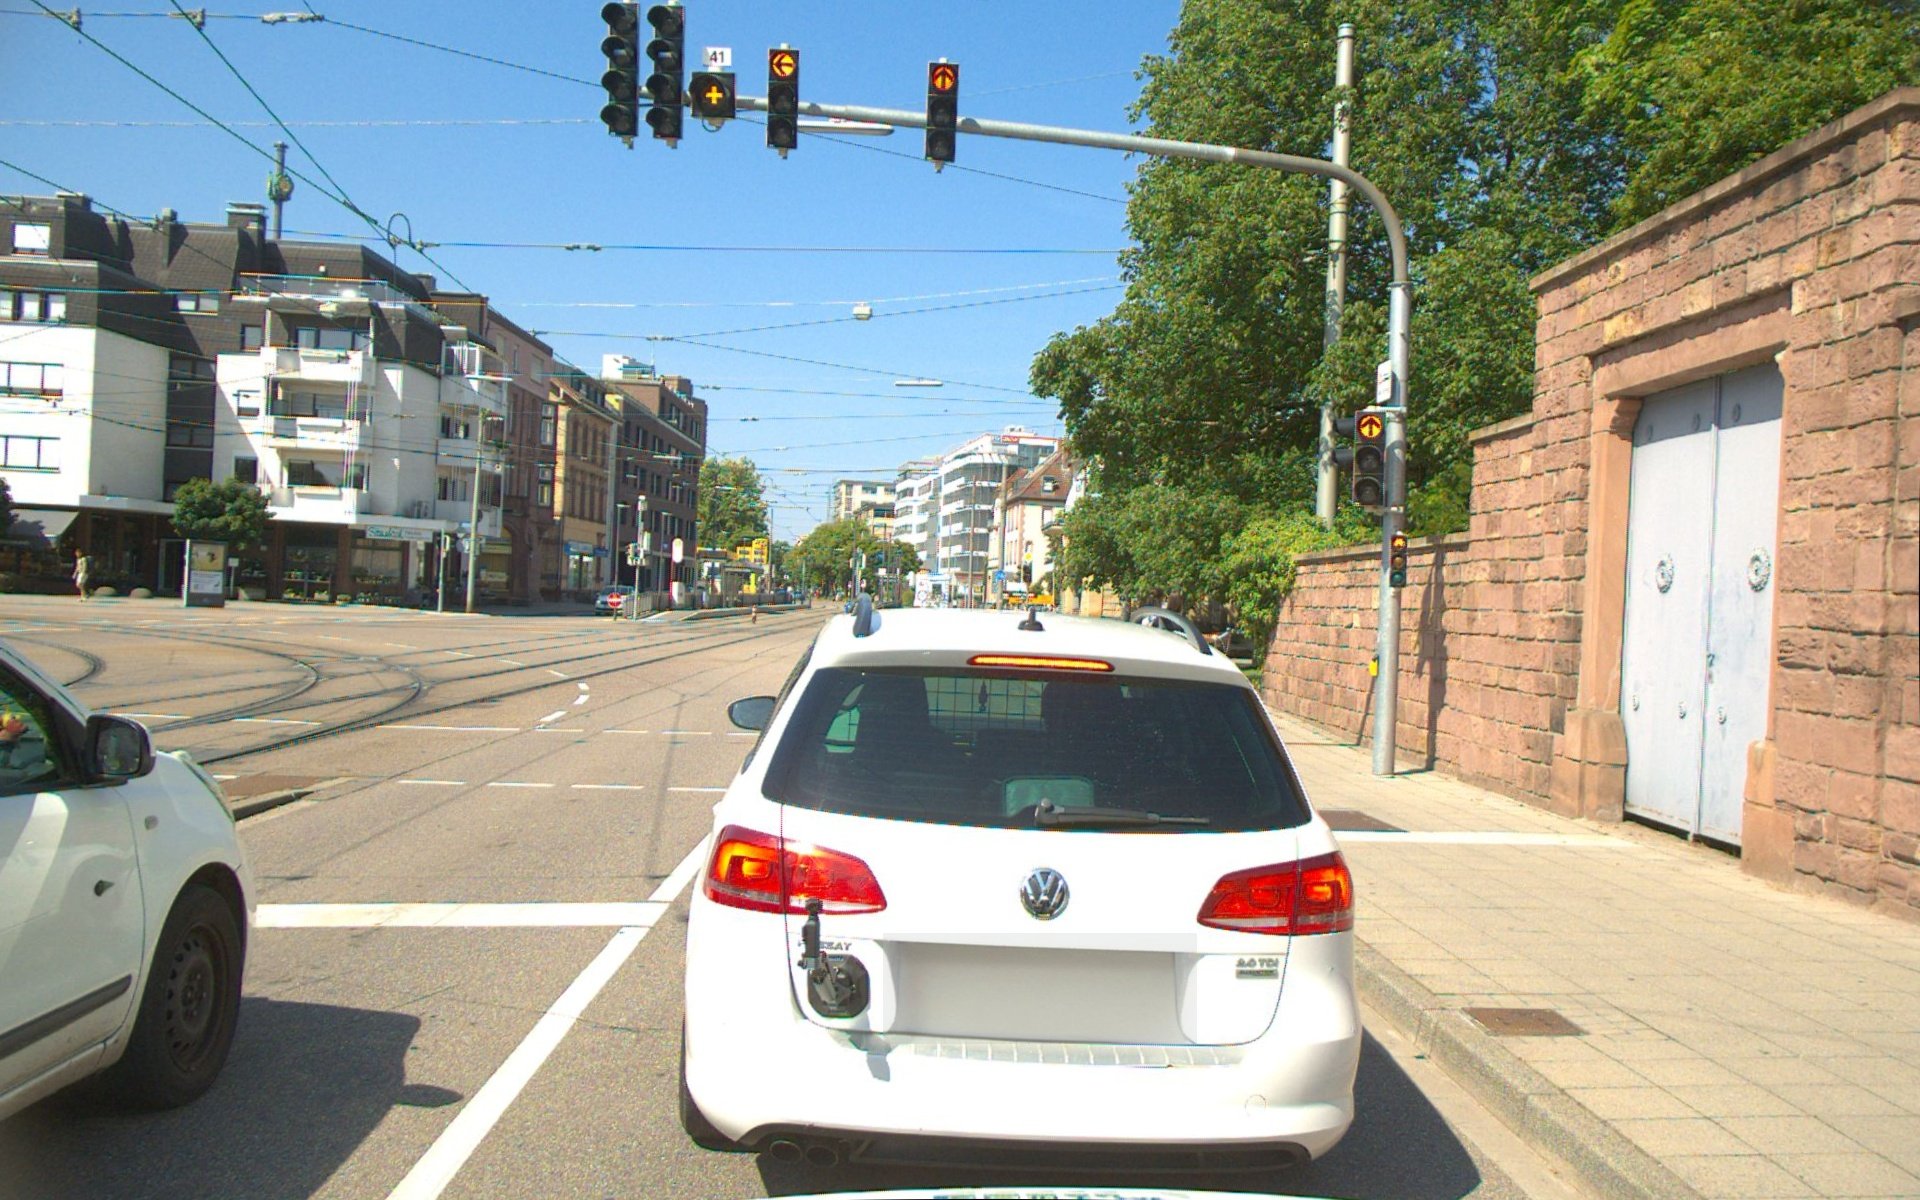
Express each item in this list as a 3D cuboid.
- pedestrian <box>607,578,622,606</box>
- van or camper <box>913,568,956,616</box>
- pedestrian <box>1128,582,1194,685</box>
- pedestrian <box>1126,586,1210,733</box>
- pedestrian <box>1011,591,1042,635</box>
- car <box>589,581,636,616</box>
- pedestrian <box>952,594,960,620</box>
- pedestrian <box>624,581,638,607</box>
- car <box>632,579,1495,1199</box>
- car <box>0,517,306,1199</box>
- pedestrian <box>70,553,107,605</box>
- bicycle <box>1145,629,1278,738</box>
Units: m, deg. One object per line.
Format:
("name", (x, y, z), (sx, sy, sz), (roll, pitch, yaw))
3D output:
("pedestrian", (-22.293, -0.496, 106.734), (0.845, 1.773, 0.973), (1, -1, -6))
("van or camper", (-1.694, -0.489, 111.220), (2.513, 3.147, 5.704), (0, -1, 3))
("pedestrian", (3.320, 0.550, 27.396), (0.933, 1.680, 0.974), (0, -1, -2))
("pedestrian", (2.355, 0.650, 18.694), (0.661, 1.599, 0.746), (1, 1, 33))
("pedestrian", (2.765, 0.544, 68.811), (0.956, 1.773, 0.861), (0, -1, 37))
("car", (-17.155, -0.059, 81.775), (1.706, 1.646, 3.996), (0, -1, -4))
("pedestrian", (-0.338, 0.636, 150.032), (0.675, 2.366, 1.232), (0, -1, 0))
("pedestrian", (-22.504, -0.391, 113.127), (0.845, 1.773, 0.973), (1, -1, -6))
("car", (0.184, 0.714, 5.461), (1.771, 1.473, 3.999), (2, 0, -1))
("car", (-2.845, 0.614, 3.311), (1.608, 1.593, 3.803), (1, 1, -1))
("pedestrian", (-30.485, -0.724, 57.839), (0.966, 1.773, 0.852), (1, -1, -40))
("bicycle", (2.842, 0.900, 18.525), (0.695, 1.109, 2.020), (0, 0, 33))
